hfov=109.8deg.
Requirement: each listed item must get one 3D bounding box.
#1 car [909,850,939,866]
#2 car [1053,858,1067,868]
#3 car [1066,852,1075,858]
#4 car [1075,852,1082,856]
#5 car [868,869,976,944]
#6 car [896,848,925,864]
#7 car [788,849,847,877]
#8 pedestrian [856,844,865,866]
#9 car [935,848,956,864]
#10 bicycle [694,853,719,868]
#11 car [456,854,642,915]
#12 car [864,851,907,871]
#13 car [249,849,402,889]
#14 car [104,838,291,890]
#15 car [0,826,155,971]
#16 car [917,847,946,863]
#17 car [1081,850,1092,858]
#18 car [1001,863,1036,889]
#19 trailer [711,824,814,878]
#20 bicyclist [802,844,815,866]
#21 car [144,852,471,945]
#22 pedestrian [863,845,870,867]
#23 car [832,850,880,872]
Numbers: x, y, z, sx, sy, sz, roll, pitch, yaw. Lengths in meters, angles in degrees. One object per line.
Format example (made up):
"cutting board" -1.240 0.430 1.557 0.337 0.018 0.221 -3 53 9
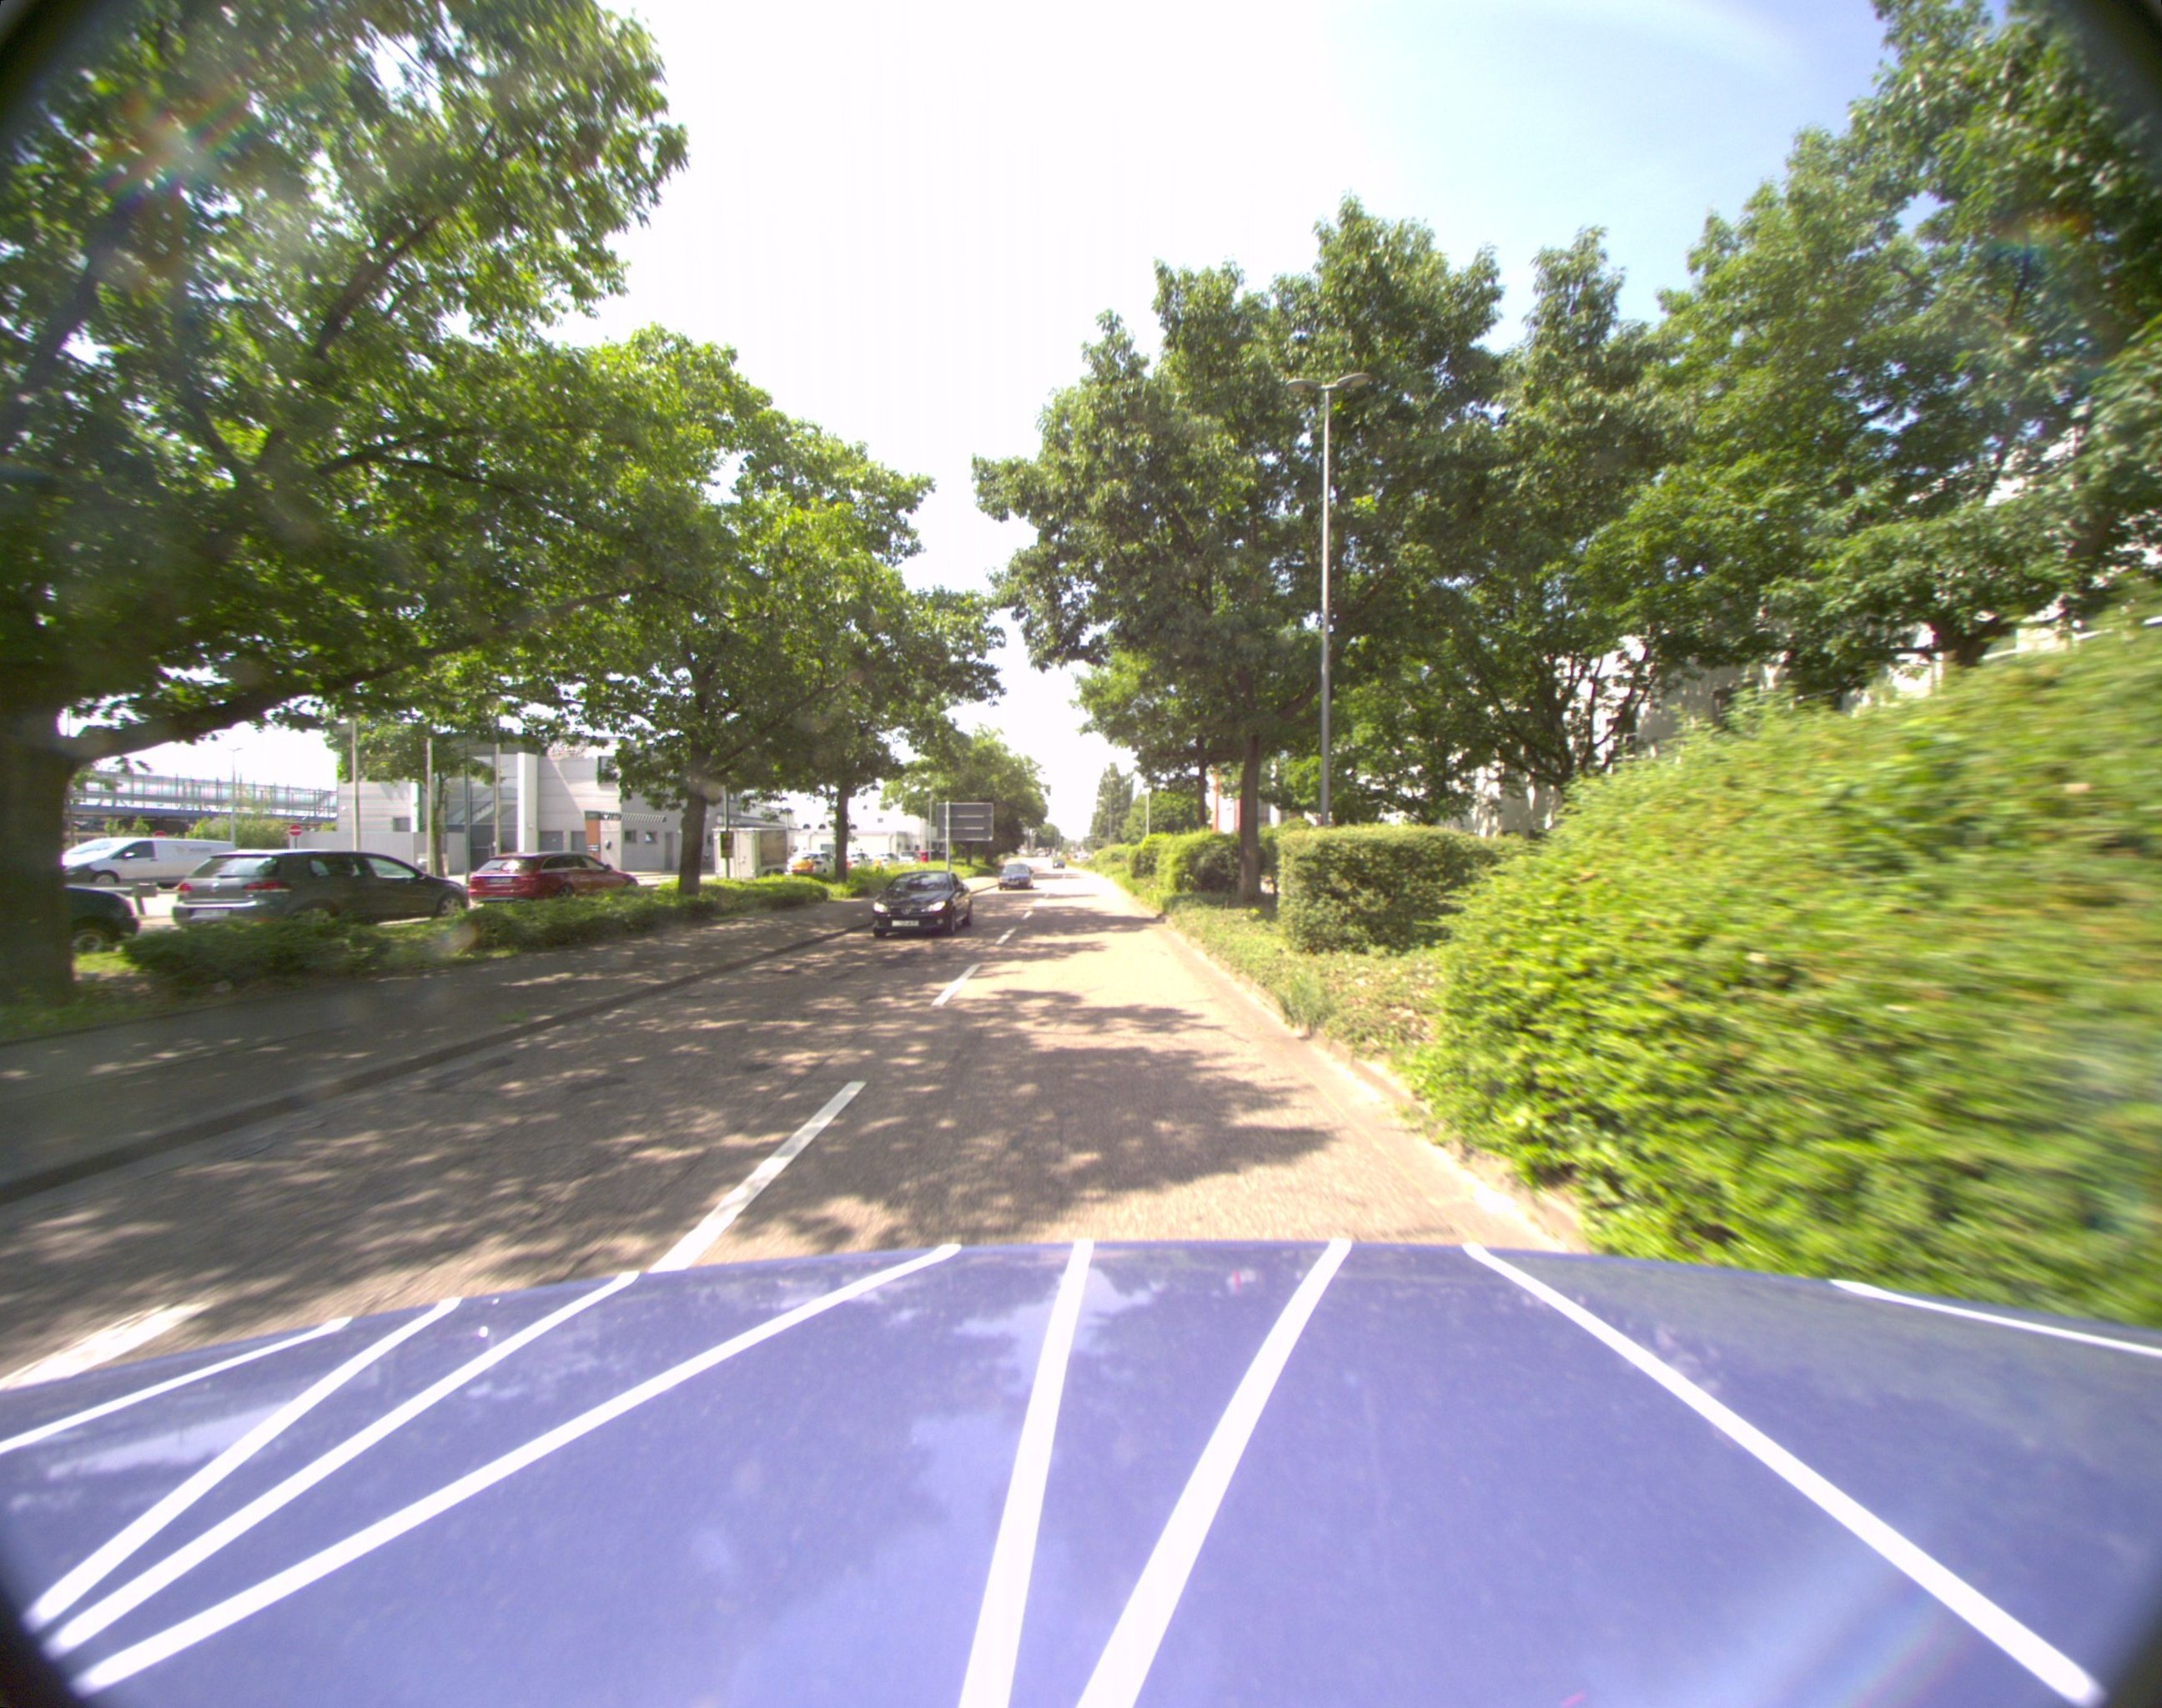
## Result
"car" -12.545 0.291 60.819 1.623 1.245 3.762 -1 1 0
"car" -3.028 1.283 108.692 1.868 1.390 3.999 1 0 -3
"car" -2.486 0.236 180.572 1.734 1.316 4.147 1 1 -4
"car" -0.750 0.022 241.542 1.727 1.408 4.244 2 0 -5
"car" -3.402 1.081 16.841 1.641 1.349 3.499 -1 1 0
"car" -12.648 0.152 56.514 1.511 1.116 2.855 -1 1 -1
"car" -12.714 0.396 36.810 1.623 1.245 3.629 -1 1 -1
"pedestrian" -19.224 0.123 66.246 0.583 1.910 0.409 1 1 0
"car" -13.031 0.129 72.834 1.912 1.443 5.595 -1 1 -11
"bicycle" -25.351 0.413 51.493 0.590 0.974 2.102 1 0 2
"car" -13.278 0.698 19.341 1.705 1.372 4.324 0 0 0
"car" -13.024 0.436 50.899 1.622 1.245 3.867 -1 1 4
"car" -26.553 0.488 26.887 1.587 1.331 3.776 0 0 1
"car" -33.460 0.354 29.013 1.714 1.795 4.631 0 0 0
"car" -13.035 0.517 7.993 1.704 1.628 3.905 0 1 2
"car" -12.922 0.057 65.950 1.623 1.245 4.198 -2 1 1
"car" 0.953 0.038 137.328 1.632 1.368 3.882 2 0 -3
"car" -3.421 1.173 40.822 1.712 1.315 3.954 0 -2 -7
"trailer" -13.034 -0.098 31.514 1.704 2.043 5.484 0 0 3
"bicyclist" -23.256 0.094 64.911 0.780 1.794 0.864 1 1 -2
"car" -13.038 0.662 13.225 1.705 1.372 3.905 0 0 0
"pedestrian" -18.673 0.195 66.182 0.467 1.910 0.534 1 1 0
"car" -12.700 0.384 43.088 1.597 1.151 3.737 -1 1 0
